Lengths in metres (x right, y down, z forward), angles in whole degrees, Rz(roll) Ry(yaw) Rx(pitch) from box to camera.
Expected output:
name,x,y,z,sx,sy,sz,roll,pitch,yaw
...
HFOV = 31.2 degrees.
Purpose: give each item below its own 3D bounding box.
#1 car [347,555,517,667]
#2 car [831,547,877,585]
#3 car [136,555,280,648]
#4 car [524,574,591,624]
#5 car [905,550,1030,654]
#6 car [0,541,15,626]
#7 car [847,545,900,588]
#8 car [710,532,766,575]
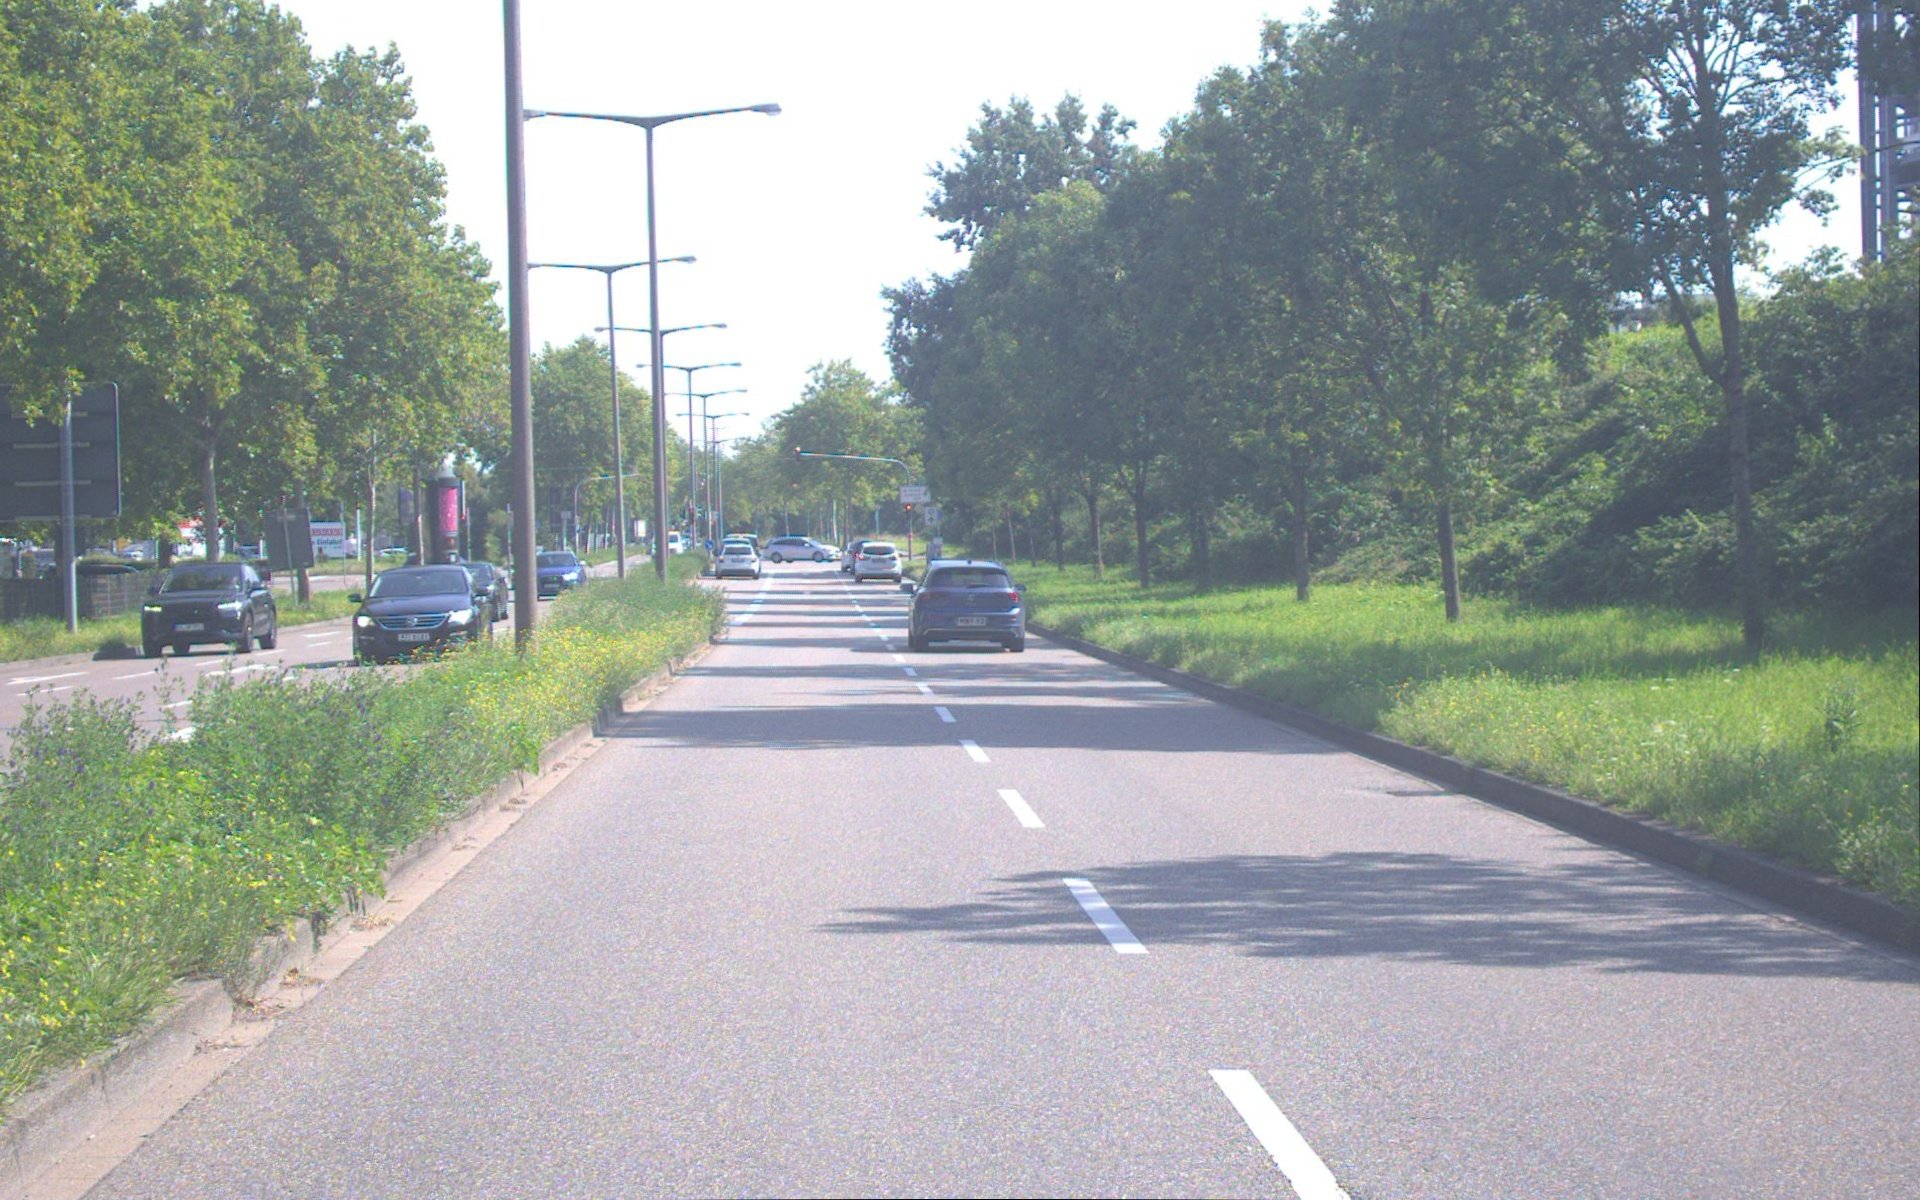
name,x,y,z,sx,sy,sz,roll,pitch,yaw
car,-7.646,0.126,50.190,1.845,1.484,4.644,-3,1,-2
car,-5.113,-1.653,165.296,1.993,1.648,4.001,-1,3,-4
car,-13.622,-0.008,62.491,1.845,1.599,4.611,-1,1,-3
car,-13.183,-0.046,112.889,1.993,1.579,4.347,-1,1,-4
car,0.082,0.005,54.775,1.780,1.423,4.001,0,3,-3
car,-30.128,-0.508,98.460,5.583,2.329,2.279,0,3,-4
car,-3.480,-1.328,137.650,1.993,1.648,4.000,-2,1,-3
car,-9.228,-1.937,143.103,1.993,1.696,4.000,-2,1,1
